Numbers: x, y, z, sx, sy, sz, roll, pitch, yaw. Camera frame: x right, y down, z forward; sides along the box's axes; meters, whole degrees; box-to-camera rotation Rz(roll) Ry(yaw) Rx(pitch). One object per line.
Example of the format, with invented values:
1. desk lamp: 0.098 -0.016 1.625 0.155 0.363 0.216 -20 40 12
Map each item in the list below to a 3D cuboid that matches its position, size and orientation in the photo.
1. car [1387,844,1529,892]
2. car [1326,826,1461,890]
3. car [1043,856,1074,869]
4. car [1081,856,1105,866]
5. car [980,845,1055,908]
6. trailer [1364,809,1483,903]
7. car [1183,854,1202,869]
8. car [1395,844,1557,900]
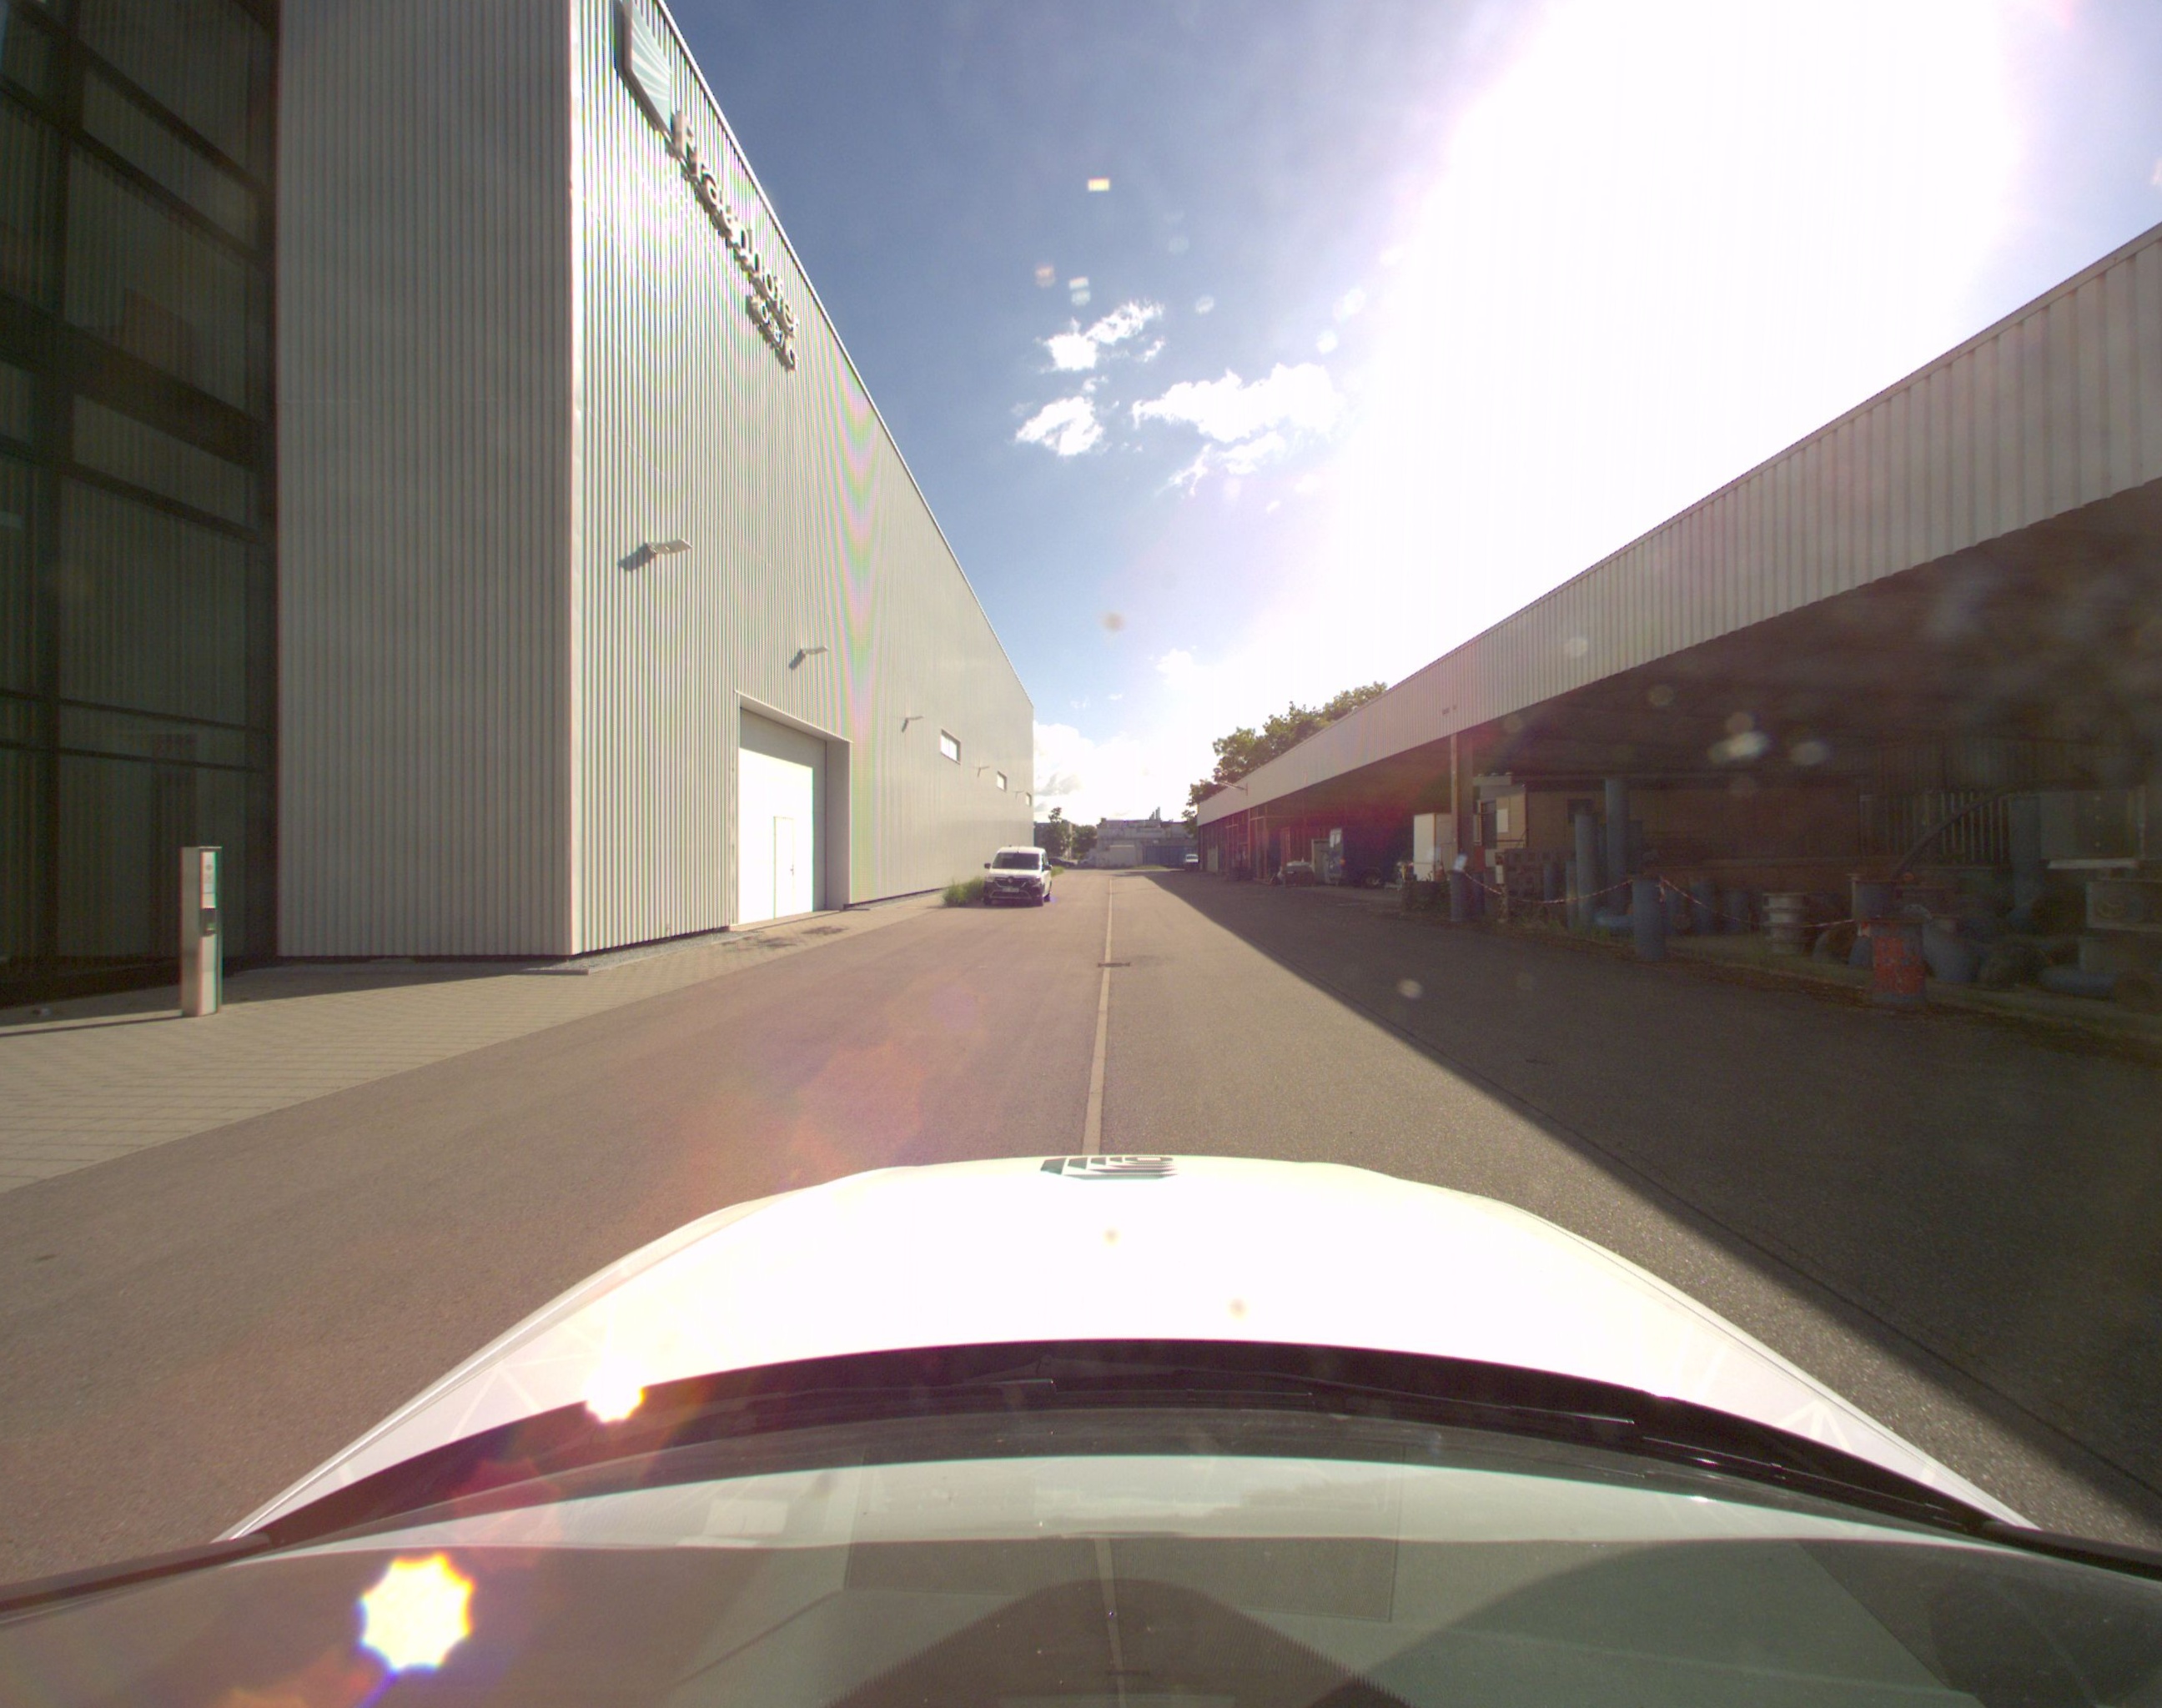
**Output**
1. car: 12.682 0.490 27.575 4.021 1.525 1.685 1 -2 3
2. car: 11.697 0.179 30.705 4.414 2.310 1.916 1 -2 3
3. car: -2.950 1.155 108.070 3.973 1.598 1.741 1 -2 1
4. car: 1.961 1.130 135.838 3.973 1.598 1.848 1 -2 1
5. car: -1.910 0.642 25.753 1.811 1.787 4.408 1 0 3
6. trailer: 9.181 0.072 21.982 2.513 2.399 1.728 -1 -1 3
7. car: 12.991 0.864 95.195 1.953 1.564 4.063 1 0 4
8. car: 11.627 0.543 24.177 4.021 1.525 1.685 1 -2 3
